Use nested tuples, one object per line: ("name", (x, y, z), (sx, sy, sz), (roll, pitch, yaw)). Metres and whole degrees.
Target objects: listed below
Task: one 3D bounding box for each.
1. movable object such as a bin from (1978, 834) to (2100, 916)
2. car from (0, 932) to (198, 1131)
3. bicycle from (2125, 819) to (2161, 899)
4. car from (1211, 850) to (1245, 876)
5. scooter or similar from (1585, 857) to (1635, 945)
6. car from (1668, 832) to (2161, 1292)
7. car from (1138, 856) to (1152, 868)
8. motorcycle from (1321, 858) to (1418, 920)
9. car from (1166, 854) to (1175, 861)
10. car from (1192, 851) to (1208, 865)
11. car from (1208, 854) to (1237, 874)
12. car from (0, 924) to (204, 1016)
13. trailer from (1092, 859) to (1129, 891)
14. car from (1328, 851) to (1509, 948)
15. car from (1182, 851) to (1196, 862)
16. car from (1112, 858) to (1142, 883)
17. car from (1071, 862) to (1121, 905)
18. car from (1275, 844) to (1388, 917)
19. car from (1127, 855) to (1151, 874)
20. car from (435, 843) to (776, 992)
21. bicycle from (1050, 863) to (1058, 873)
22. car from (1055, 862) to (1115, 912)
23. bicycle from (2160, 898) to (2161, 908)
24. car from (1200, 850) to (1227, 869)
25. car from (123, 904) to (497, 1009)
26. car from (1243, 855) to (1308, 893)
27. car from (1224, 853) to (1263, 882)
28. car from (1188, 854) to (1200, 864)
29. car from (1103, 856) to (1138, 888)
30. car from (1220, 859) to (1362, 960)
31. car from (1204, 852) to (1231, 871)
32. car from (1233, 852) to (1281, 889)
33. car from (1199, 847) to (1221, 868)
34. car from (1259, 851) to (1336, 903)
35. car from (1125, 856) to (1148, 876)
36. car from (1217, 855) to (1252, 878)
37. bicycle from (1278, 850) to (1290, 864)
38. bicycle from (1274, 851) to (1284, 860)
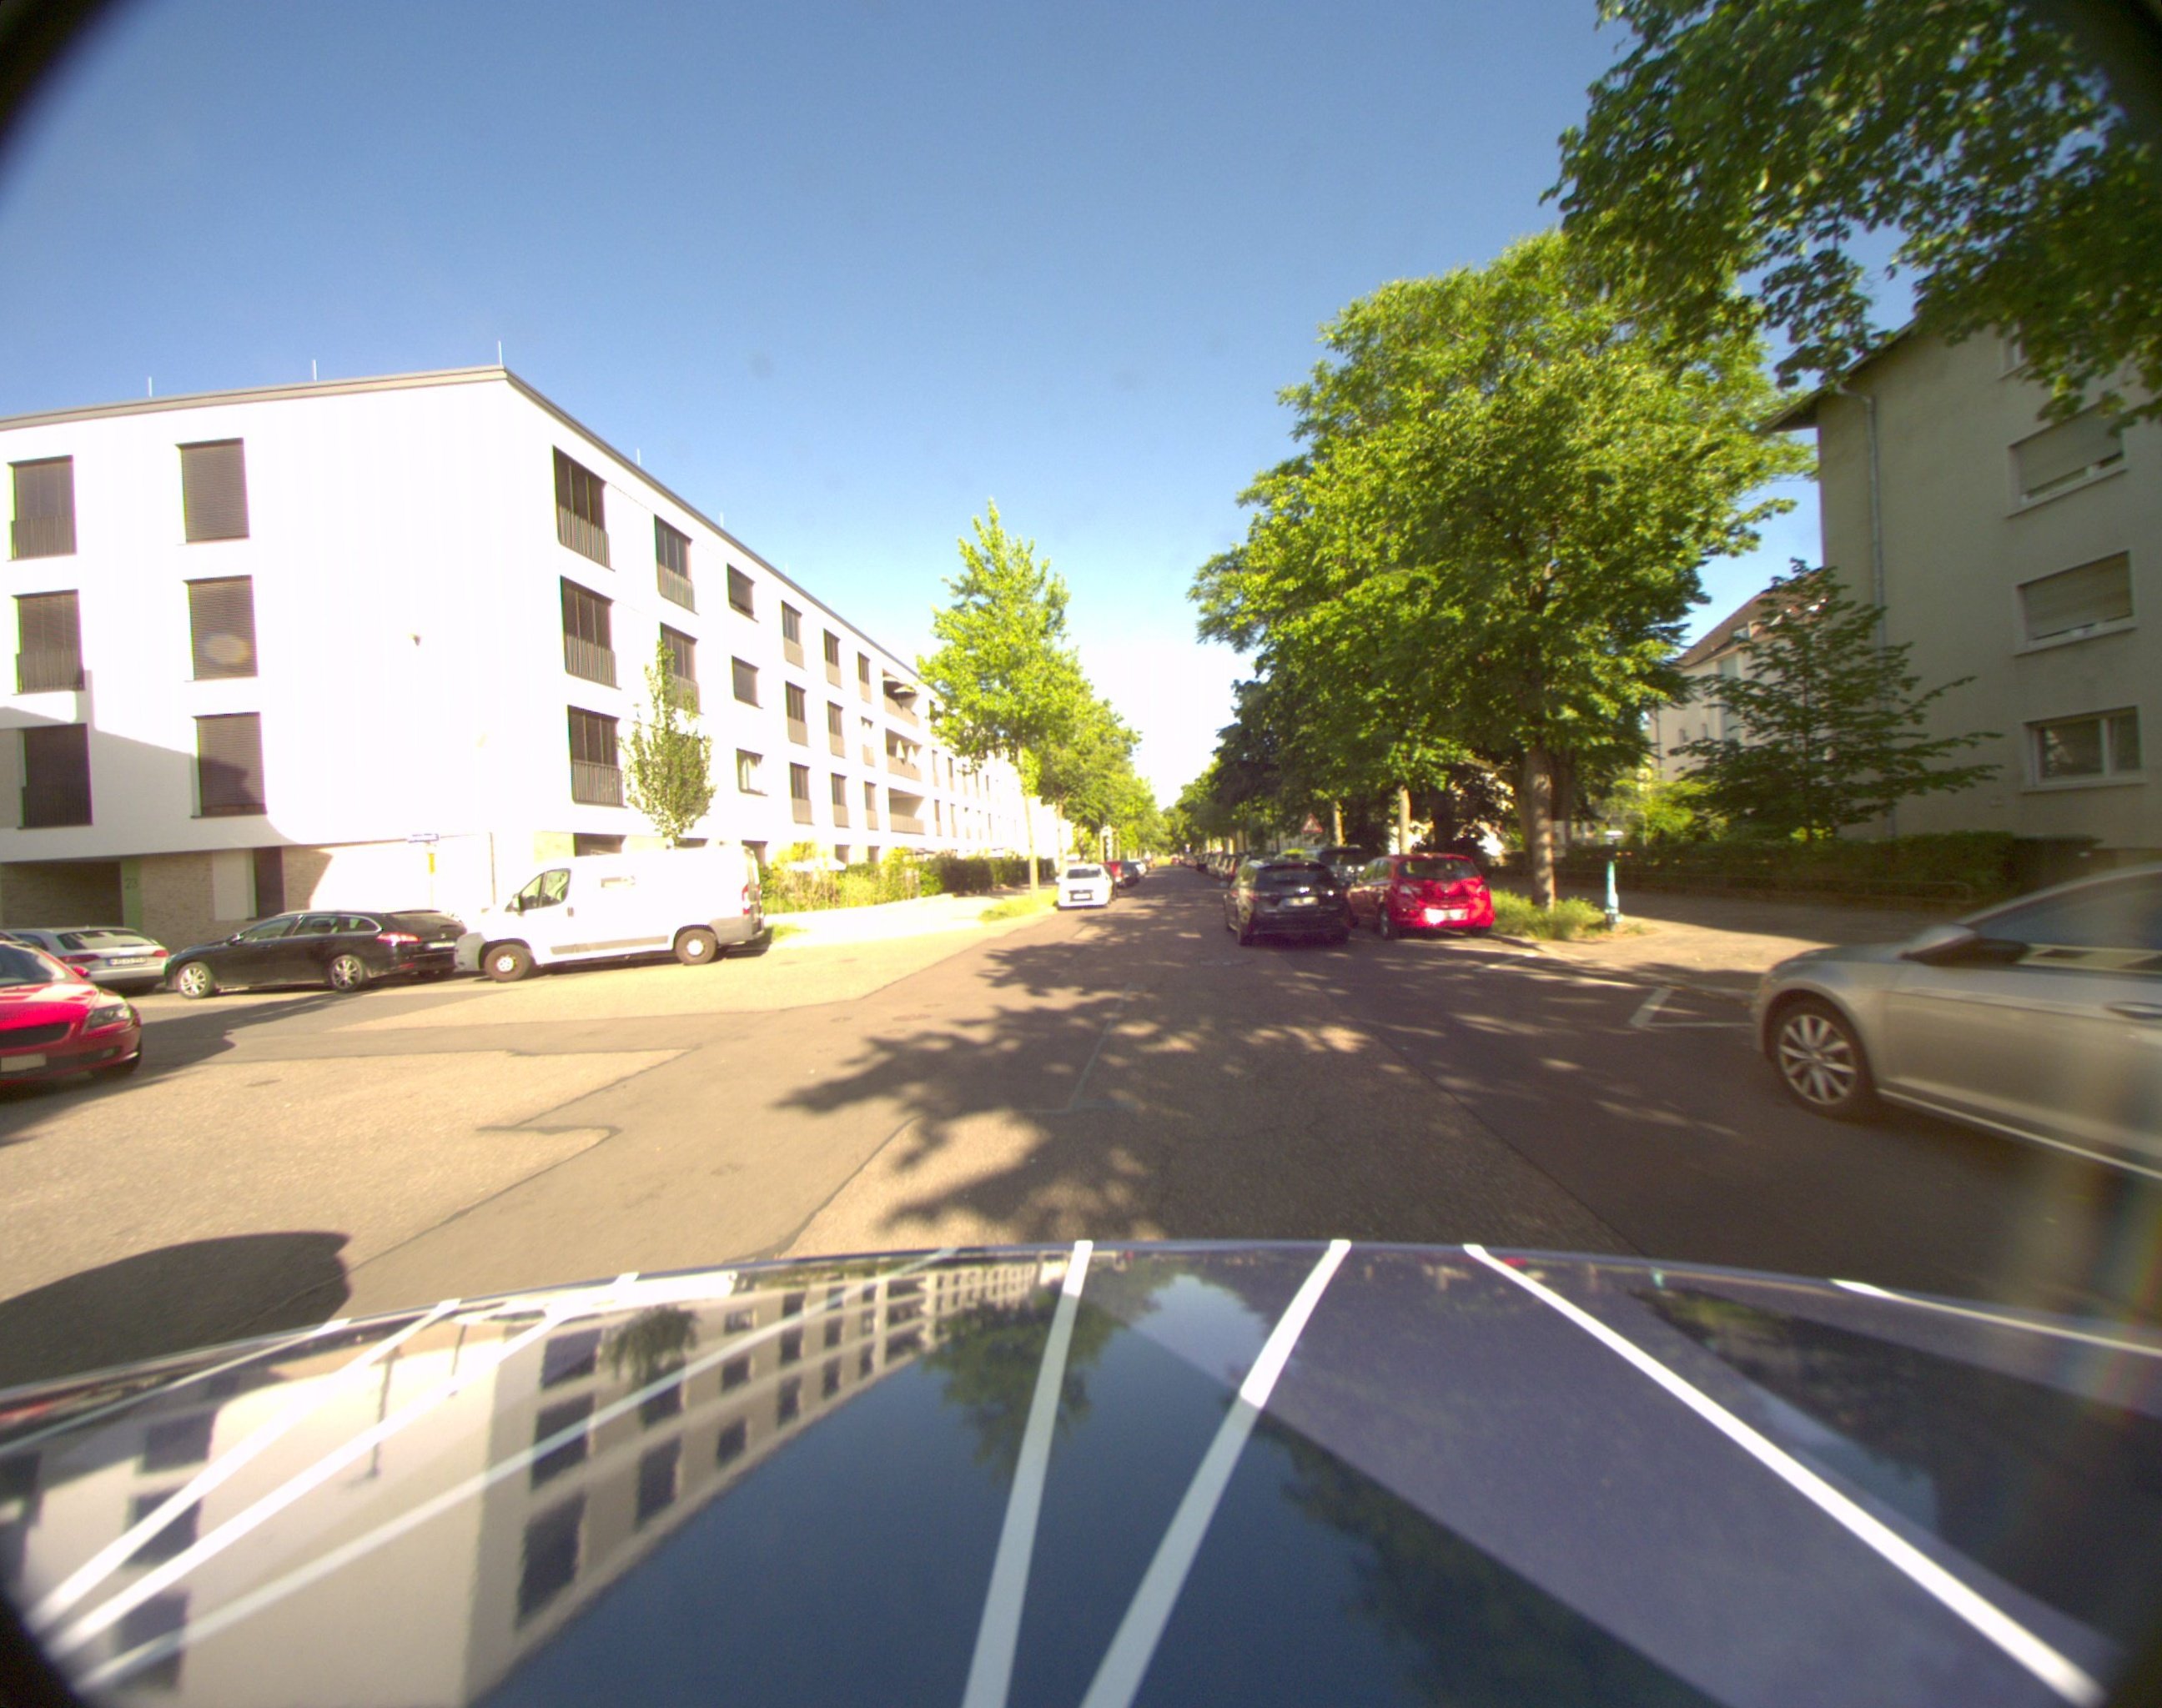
("movable object such as a bin", (13.223, 0.283, 10.514), (0.695, 1.062, 0.760), (-3, 0, 7))
("car", (-10.851, 1.603, 7.007), (4.723, 1.461, 1.956), (-3, 0, 21))
("bicycle", (16.425, 0.070, 10.800), (0.687, 1.194, 1.913), (-3, 0, 8))
("car", (10.255, 0.616, 53.218), (1.845, 1.647, 5.089), (-2, 0, 6))
("scooter or similar", (8.209, 0.697, 11.776), (0.555, 1.228, 1.517), (-3, 0, 36))
("car", (4.708, 0.693, 2.705), (2.047, 1.515, 4.608), (-3, 0, 7))
("car", (8.406, 1.024, 99.356), (1.669, 1.456, 3.538), (-2, 0, 7))
("motorcycle", (6.595, 0.806, 17.459), (1.956, 1.324, 0.788), (-3, 0, 14))
("car", (18.147, 0.697, 153.426), (1.664, 1.456, 3.449), (-2, 0, 7))
("car", (15.093, 0.513, 96.792), (1.863, 1.718, 4.002), (-1, 0, 7))
("car", (10.868, 0.734, 58.490), (1.710, 1.472, 4.491), (-2, 0, 5))
("car", (-19.990, 2.210, 14.342), (4.938, 1.420, 1.963), (-3, -2, 5))
("trailer", (1.653, 1.117, 41.617), (1.578, 1.569, 3.194), (-5, 0, 8))
("car", (6.045, 0.726, 14.195), (1.860, 1.461, 4.184), (-3, 0, 6))
("car", (18.085, 0.446, 127.288), (1.890, 1.797, 3.916), (-3, 0, 2))
("car", (3.199, 1.090, 52.422), (1.721, 1.507, 4.347), (-4, 0, 7))
("car", (0.683, 1.157, 31.312), (1.674, 1.442, 4.180), (-5, 0, 5))
("car", (6.558, 0.628, 20.437), (1.771, 1.678, 4.816), (-2, 0, 5))
("car", (5.550, 0.956, 72.454), (1.901, 1.638, 4.864), (-4, 0, 8))
("car", (-8.750, 1.082, 14.639), (5.060, 2.292, 2.232), (-3, 0, -17))
("bicycle", (-2.652, 1.389, 74.903), (0.564, 0.889, 1.610), (-3, 0, 7))
("car", (0.222, 1.113, 26.762), (1.736, 1.478, 4.011), (-4, 0, 4))
("bicycle", (7.071, 0.743, 3.801), (0.531, 1.009, 2.092), (-10, -2, 12))
("car", (12.001, 0.481, 69.159), (1.798, 1.676, 4.528), (-2, 0, 3))
("car", (-13.922, 1.819, 13.922), (4.938, 1.461, 2.048), (-3, 0, 4))
("car", (7.840, 0.767, 31.034), (1.789, 1.344, 4.483), (-2, 0, 5))
("car", (9.184, 0.720, 43.235), (1.657, 1.496, 4.070), (-2, 0, 5))
("car", (16.410, 0.685, 110.424), (1.605, 1.382, 3.814), (-3, 0, 6))
("car", (2.453, 1.058, 46.286), (1.796, 1.633, 4.821), (-5, 0, 6))
("car", (3.553, 0.859, 13.635), (1.812, 1.437, 4.368), (-2, 0, 7))
("car", (11.403, 0.585, 63.485), (1.797, 1.443, 4.491), (-2, 0, 5))
("car", (8.311, 0.741, 36.229), (1.709, 1.568, 4.484), (-2, 0, 7))
("car", (12.533, 0.334, 74.150), (1.797, 1.839, 4.869), (-2, 0, 6))
("car", (7.183, 0.708, 25.640), (1.772, 1.522, 4.422), (-3, 0, 7))
("car", (4.806, 1.028, 66.548), (1.785, 1.509, 4.688), (-4, 0, 2))
("car", (9.644, 0.755, 47.974), (1.657, 1.365, 4.191), (-2, 0, 5))
("bicycle", (18.303, 0.245, 68.422), (0.596, 1.182, 2.262), (-2, 0, 5))
("bicycle", (19.419, 0.129, 74.426), (0.596, 0.911, 1.904), (-2, 0, 5))
